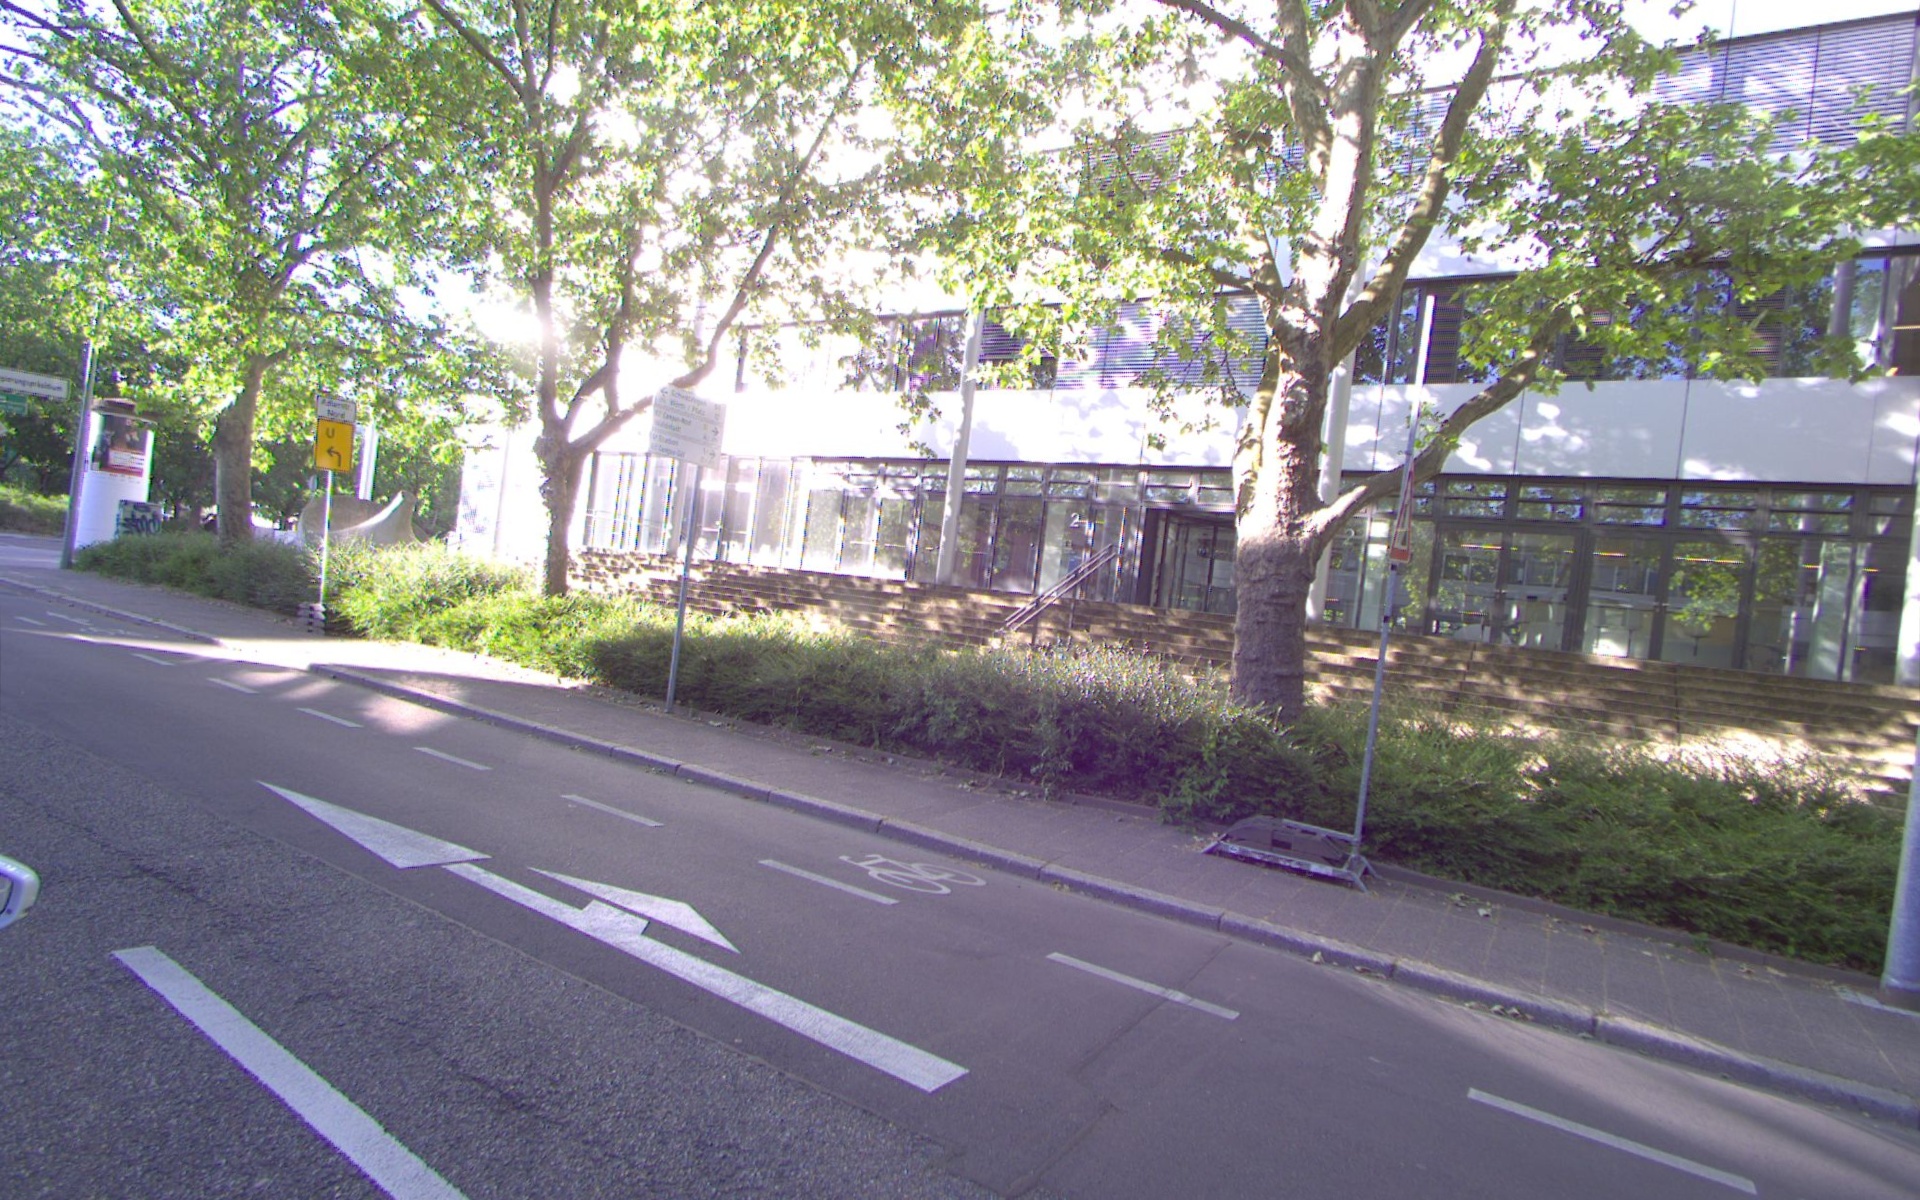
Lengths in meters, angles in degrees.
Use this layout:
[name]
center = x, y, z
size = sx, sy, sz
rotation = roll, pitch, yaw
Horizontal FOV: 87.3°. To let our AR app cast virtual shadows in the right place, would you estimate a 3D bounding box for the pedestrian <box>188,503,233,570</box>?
[pedestrian]
center = -21.703, -1.842, 29.130
size = 0.719, 1.799, 0.735
rotation = 6, -1, 40
